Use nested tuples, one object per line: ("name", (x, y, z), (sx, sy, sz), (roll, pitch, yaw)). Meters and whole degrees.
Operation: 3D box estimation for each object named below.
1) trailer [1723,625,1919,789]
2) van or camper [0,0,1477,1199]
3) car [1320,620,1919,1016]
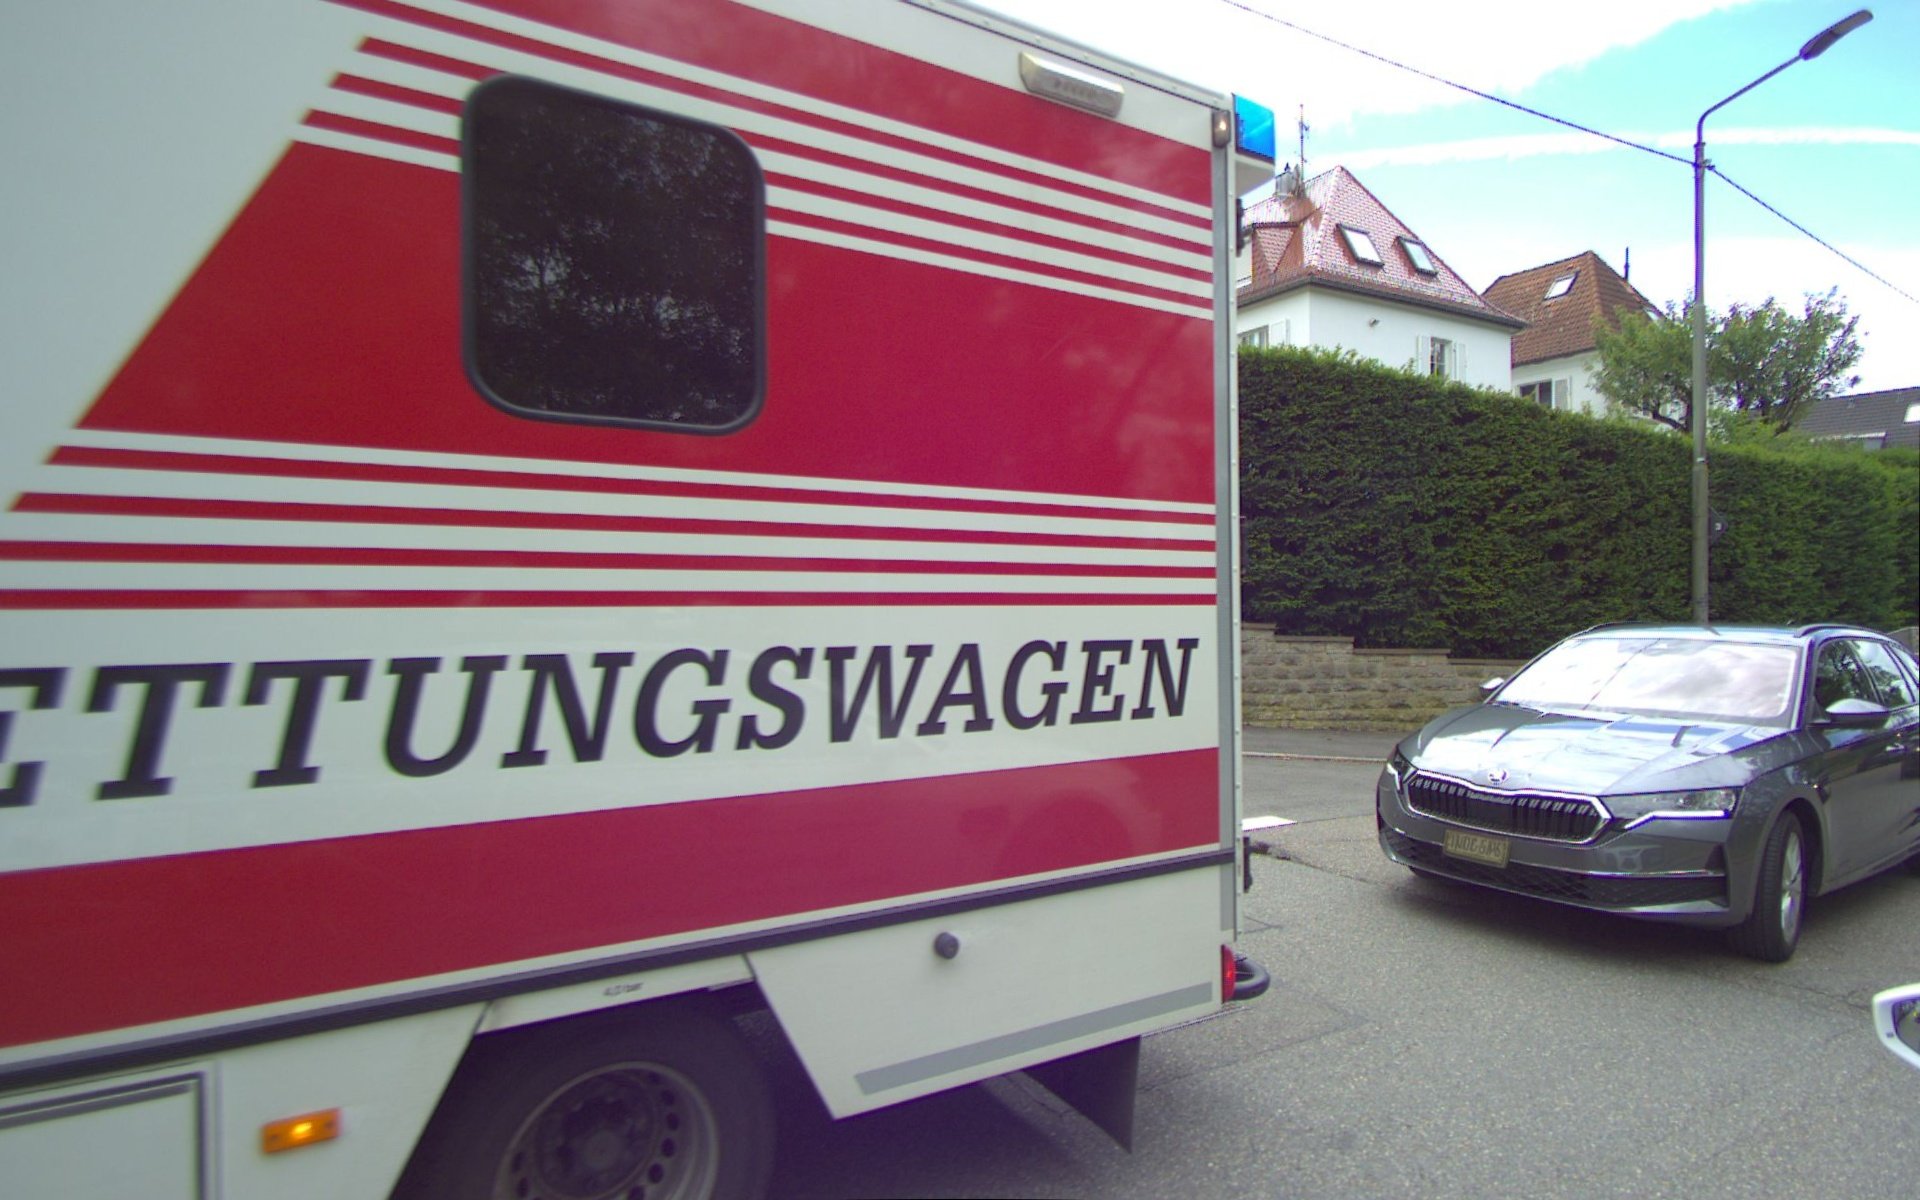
("trailer", (10.515, 1.047, 11.110), (4.420, 1.516, 1.755), (1, -1, -30))
("van or camper", (-2.184, -0.075, 2.077), (7.085, 2.933, 2.444), (1, -1, -31))
("car", (4.185, 0.861, 5.732), (4.427, 1.465, 1.753), (1, -1, -34))
